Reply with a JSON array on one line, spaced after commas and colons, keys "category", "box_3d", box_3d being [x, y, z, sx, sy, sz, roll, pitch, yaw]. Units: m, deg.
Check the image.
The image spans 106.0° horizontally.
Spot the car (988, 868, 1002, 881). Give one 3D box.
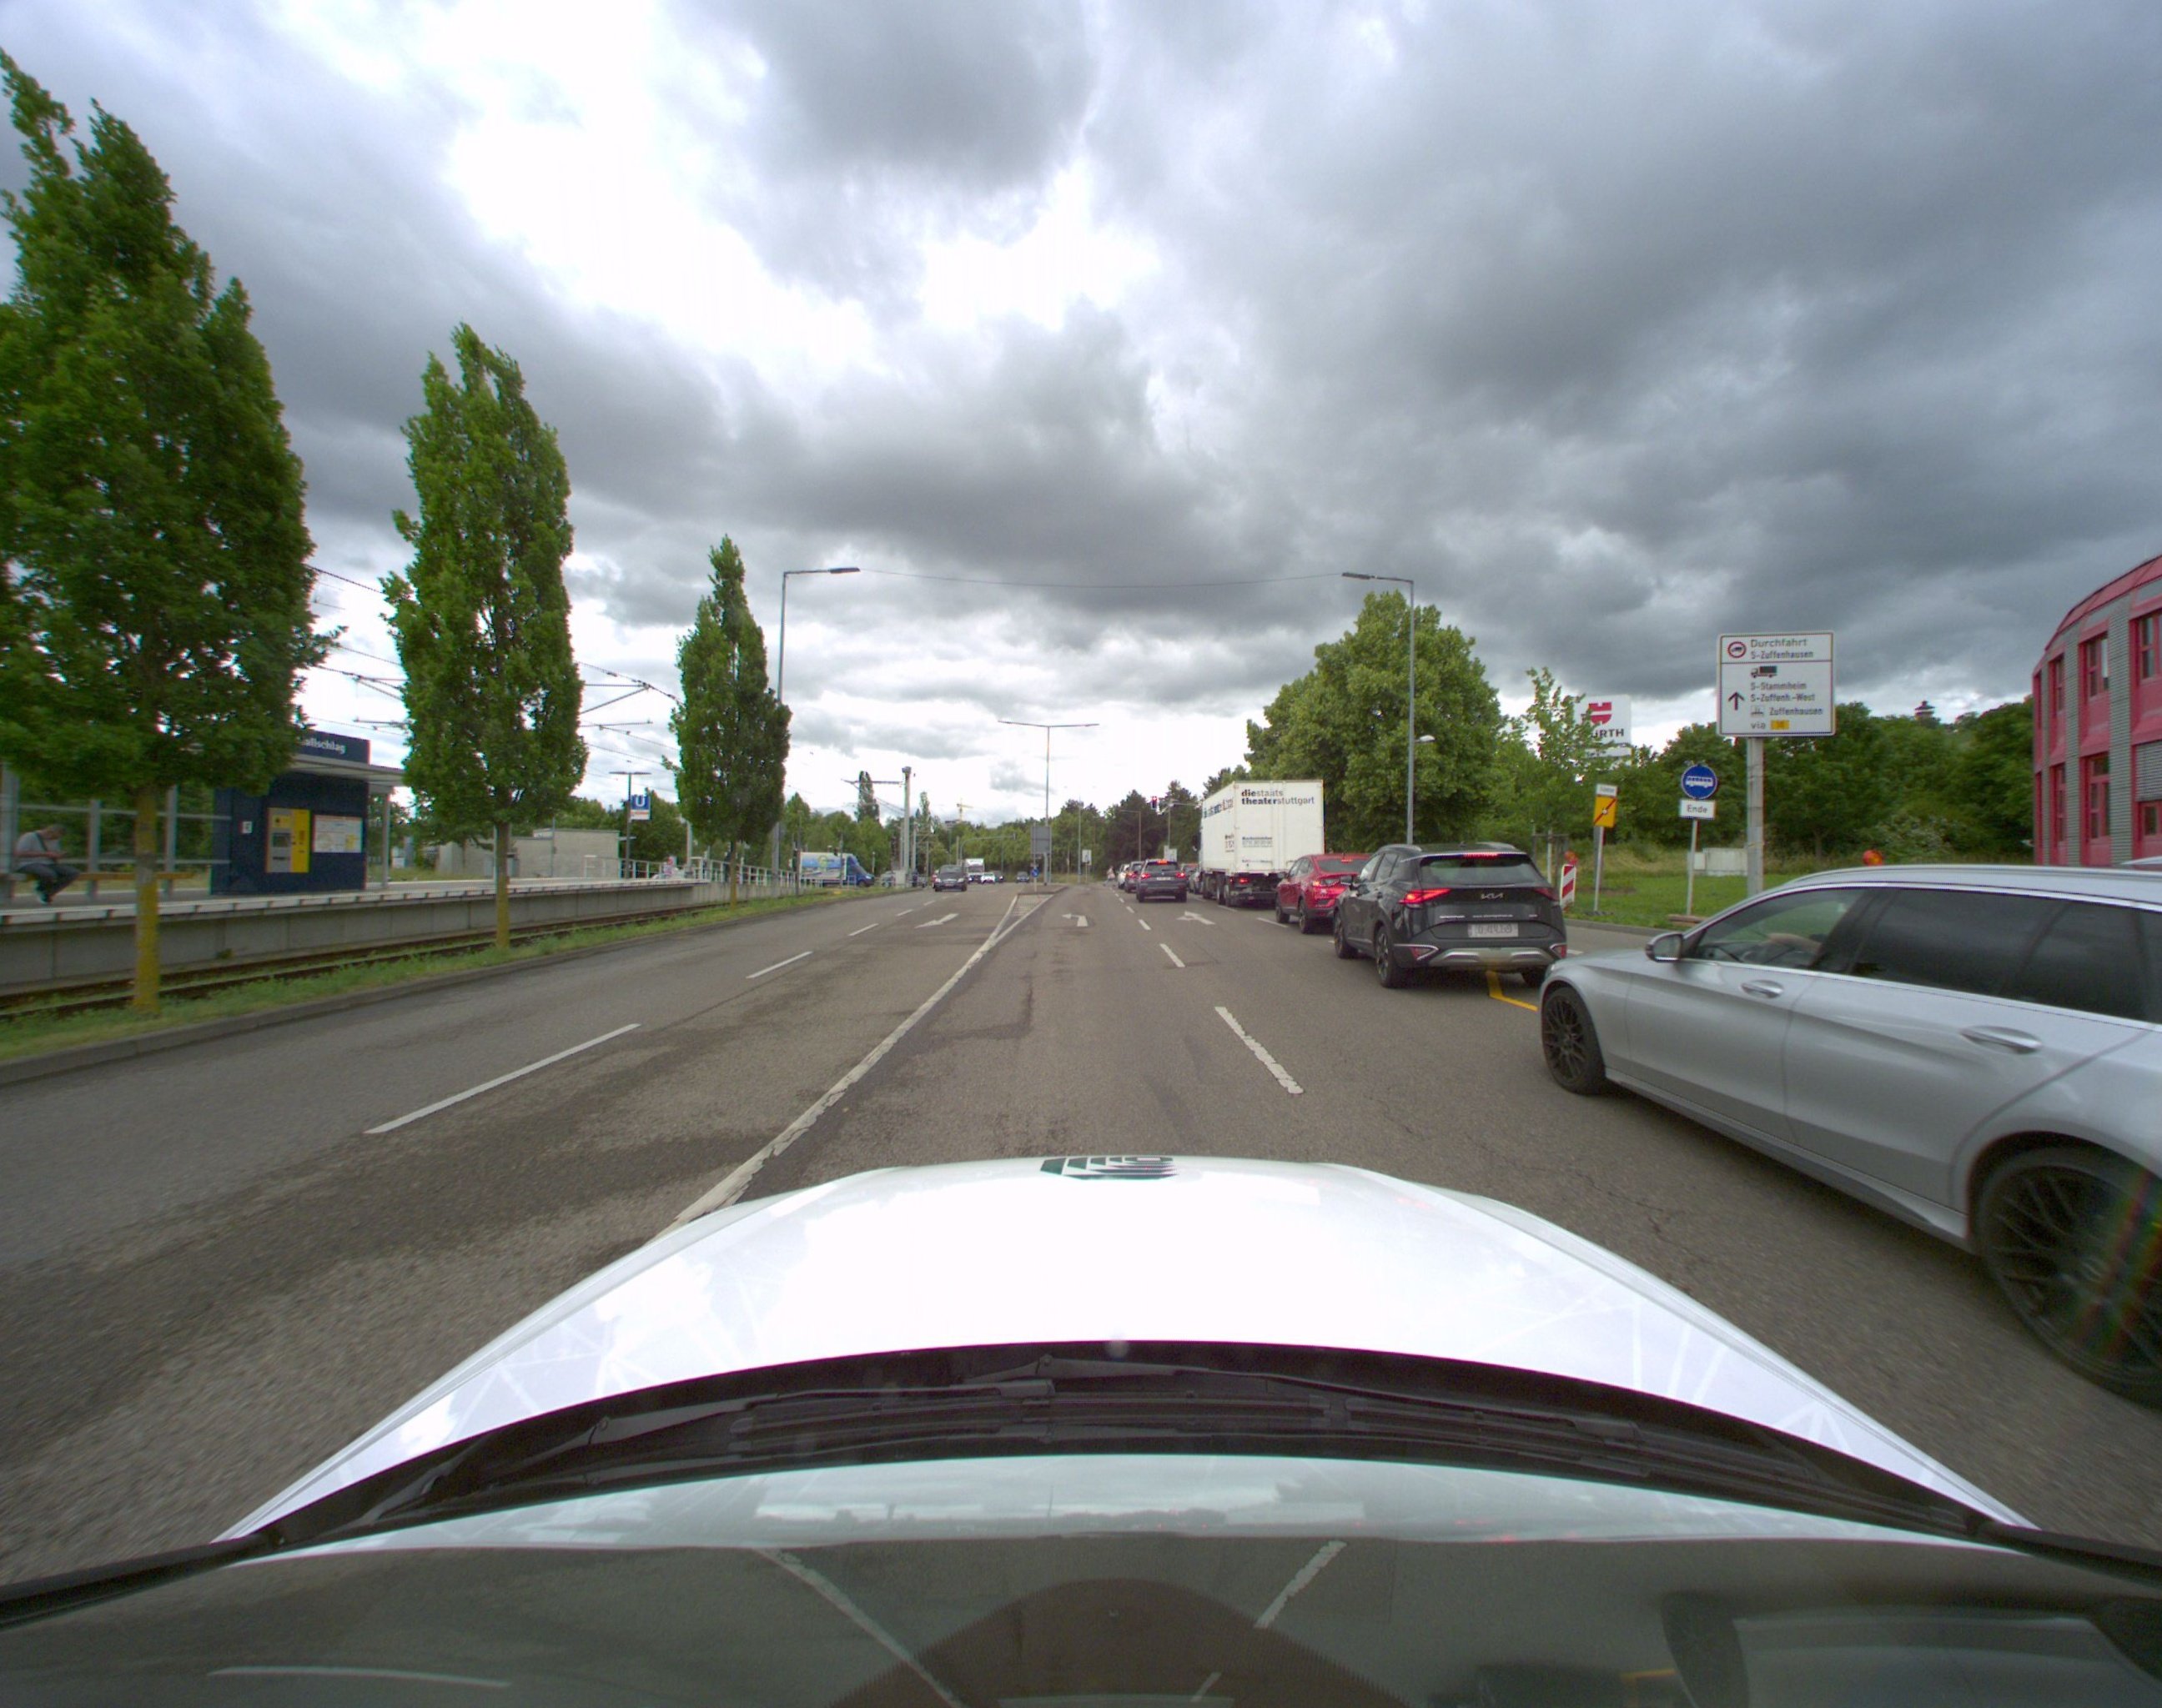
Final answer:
[{"category": "car", "box_3d": [-12.608, 2.995, 119.688, 1.915, 1.728, 3.989, -1, 0, -8]}]

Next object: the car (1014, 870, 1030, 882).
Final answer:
[{"category": "car", "box_3d": [-8.249, 3.016, 113.371, 1.914, 1.576, 3.989, -1, 0, -8]}]

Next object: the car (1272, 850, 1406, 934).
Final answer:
[{"category": "car", "box_3d": [5.199, 0.710, 17.008, 1.700, 1.524, 4.324, -1, 0, 4]}]

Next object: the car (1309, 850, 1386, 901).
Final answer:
[{"category": "car", "box_3d": [8.876, 0.677, 27.328, 1.565, 1.571, 3.059, 1, 0, 0]}]

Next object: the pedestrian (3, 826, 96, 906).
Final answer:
[{"category": "pedestrian", "box_3d": [-17.049, 0.186, 13.472, 0.609, 1.269, 0.659, -1, 2, -4]}]

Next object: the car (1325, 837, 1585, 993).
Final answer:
[{"category": "car", "box_3d": [4.439, 0.623, 10.468, 1.834, 1.561, 4.414, -1, 0, 8]}]

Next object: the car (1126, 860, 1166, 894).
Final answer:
[{"category": "car", "box_3d": [3.131, 1.097, 40.018, 1.792, 1.523, 4.190, -1, 0, 3]}]

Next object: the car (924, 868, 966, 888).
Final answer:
[{"category": "car", "box_3d": [-11.014, 1.900, 65.924, 1.716, 1.488, 4.042, -2, 1, -36]}]

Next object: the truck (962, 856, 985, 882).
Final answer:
[{"category": "truck", "box_3d": [-15.651, 2.129, 118.273, 2.662, 3.649, 9.463, 1, -1, -12]}]

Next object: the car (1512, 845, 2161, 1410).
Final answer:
[{"category": "car", "box_3d": [3.708, 0.695, 3.465, 1.664, 1.447, 4.495, -1, 0, 4]}]

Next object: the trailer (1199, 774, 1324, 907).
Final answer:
[{"category": "trailer", "box_3d": [5.668, -0.326, 26.951, 2.556, 3.706, 7.766, -1, -1, 2]}]

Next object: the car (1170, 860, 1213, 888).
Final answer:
[{"category": "car", "box_3d": [5.855, 1.068, 43.658, 1.818, 1.435, 4.214, -1, -2, 2]}]

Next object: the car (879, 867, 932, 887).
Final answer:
[{"category": "car", "box_3d": [-15.095, 1.959, 70.294, 3.963, 1.595, 2.006, -1, 2, 9]}]

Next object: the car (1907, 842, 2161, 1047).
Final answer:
[{"category": "car", "box_3d": [8.515, 0.636, 5.866, 1.615, 1.457, 3.695, -1, 0, 6]}]

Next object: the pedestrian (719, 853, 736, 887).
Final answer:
[{"category": "pedestrian", "box_3d": [-19.453, 0.875, 44.821, 0.571, 1.828, 0.792, 0, -1, -3]}]

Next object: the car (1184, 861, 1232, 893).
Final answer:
[{"category": "car", "box_3d": [5.757, 1.006, 37.245, 1.804, 1.354, 4.122, -1, -1, 4]}]

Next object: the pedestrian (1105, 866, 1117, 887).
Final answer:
[{"category": "pedestrian", "box_3d": [2.234, 1.662, 60.847, 0.861, 1.560, 0.518, -1, 1, -1]}]

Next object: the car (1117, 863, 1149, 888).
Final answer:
[{"category": "car", "box_3d": [3.080, 1.276, 49.140, 1.715, 1.422, 4.356, -1, -1, 1]}]

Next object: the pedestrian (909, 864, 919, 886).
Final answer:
[{"category": "pedestrian", "box_3d": [-12.616, 1.578, 61.531, 0.349, 1.556, 0.657, 0, 2, 35]}]

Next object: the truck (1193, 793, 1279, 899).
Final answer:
[{"category": "truck", "box_3d": [5.762, -0.251, 30.894, 2.561, 3.706, 4.107, -1, -1, 2]}]

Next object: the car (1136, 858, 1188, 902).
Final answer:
[{"category": "car", "box_3d": [2.926, 0.912, 30.093, 1.691, 1.486, 4.002, -1, -1, 2]}]

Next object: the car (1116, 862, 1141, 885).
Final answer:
[{"category": "car", "box_3d": [3.126, 1.308, 54.115, 1.530, 1.504, 2.670, -1, -2, 1]}]

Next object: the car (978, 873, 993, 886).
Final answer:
[{"category": "car", "box_3d": [-12.148, 3.205, 103.840, 1.775, 1.508, 3.736, 0, 0, -9]}]

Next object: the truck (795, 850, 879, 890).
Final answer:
[{"category": "truck", "box_3d": [-23.582, 1.532, 78.984, 7.225, 3.598, 2.689, -1, 1, -4]}]

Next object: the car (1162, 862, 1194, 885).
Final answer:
[{"category": "car", "box_3d": [6.042, 1.236, 51.202, 1.541, 1.404, 3.999, -1, -1, 0]}]

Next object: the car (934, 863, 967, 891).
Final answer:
[{"category": "car", "box_3d": [-7.833, 1.374, 49.068, 1.723, 1.574, 3.699, 0, -1, -5]}]
